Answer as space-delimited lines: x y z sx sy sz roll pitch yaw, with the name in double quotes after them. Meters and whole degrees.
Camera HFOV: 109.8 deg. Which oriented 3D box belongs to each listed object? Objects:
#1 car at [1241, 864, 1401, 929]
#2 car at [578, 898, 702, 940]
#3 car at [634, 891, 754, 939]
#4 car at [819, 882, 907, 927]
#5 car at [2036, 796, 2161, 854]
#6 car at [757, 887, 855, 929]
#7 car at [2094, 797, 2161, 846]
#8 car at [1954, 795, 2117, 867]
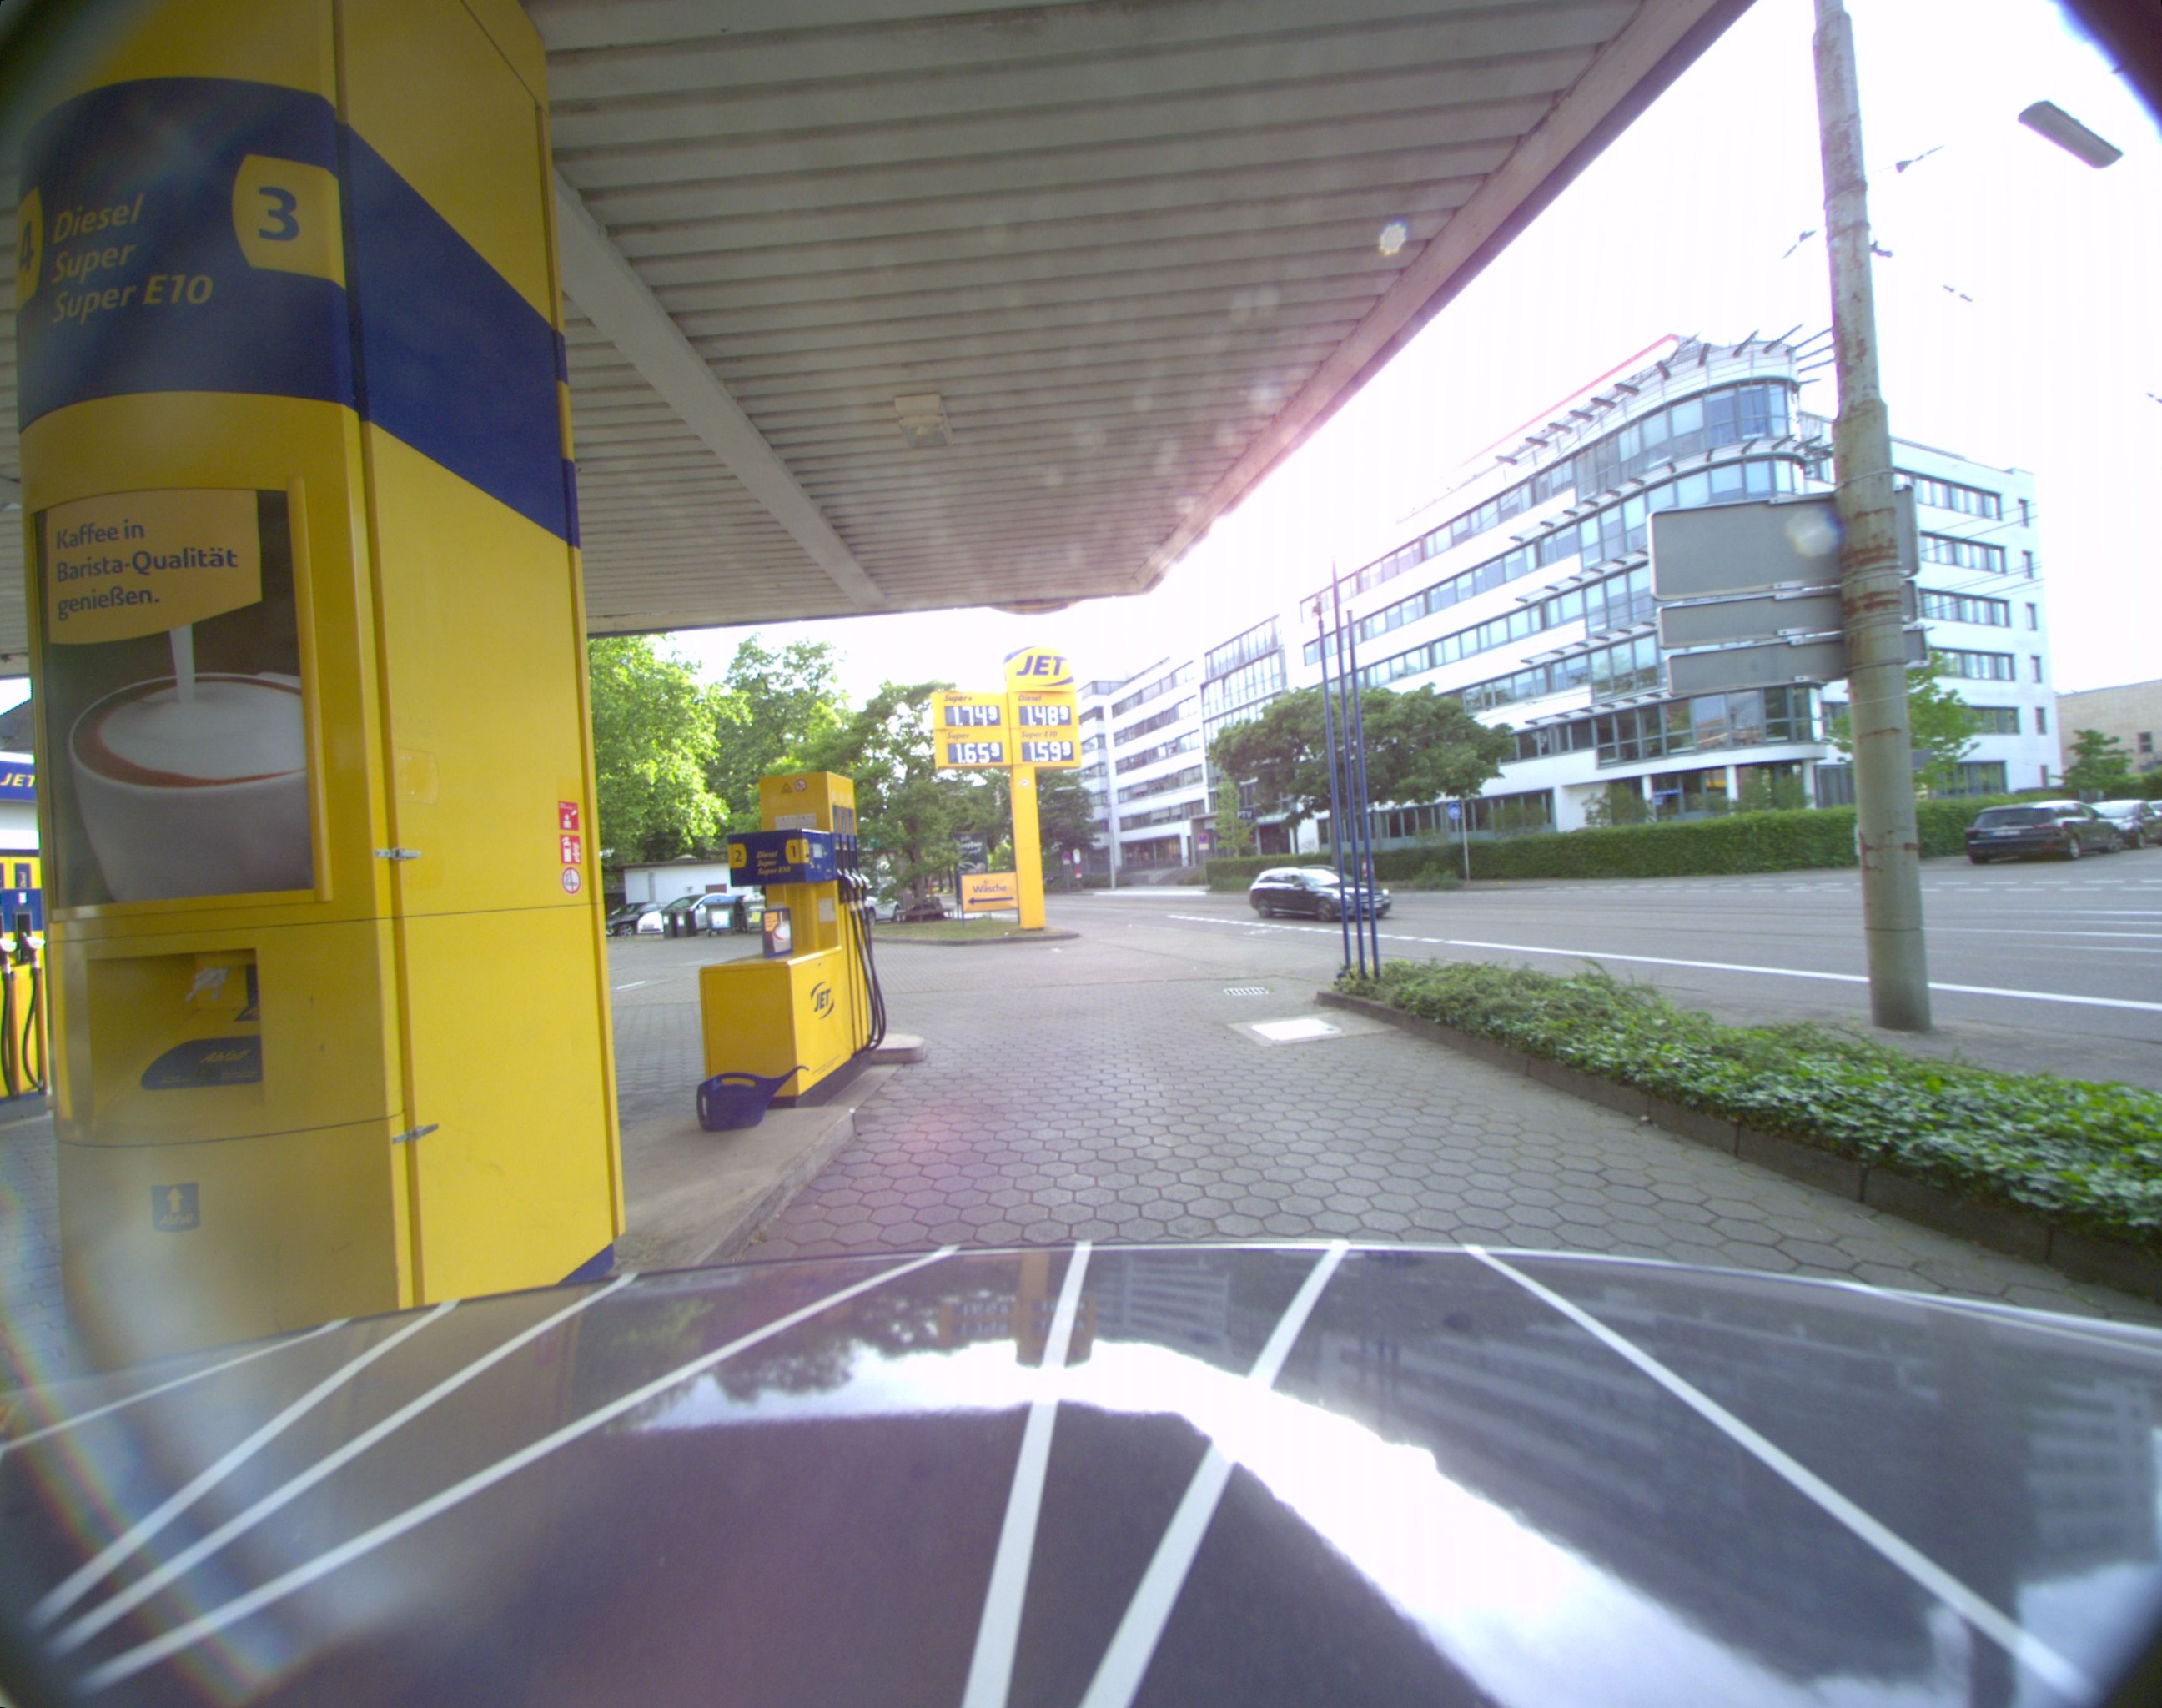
6.468 1.128 21.120 1.755 1.460 4.564 -4 -1 -19 "car"
-17.794 2.595 30.910 1.771 1.367 4.398 -2 -1 14 "car"
-15.292 2.369 30.316 1.771 1.591 4.398 -2 -1 14 "car"
-8.636 2.005 30.505 1.772 1.591 4.398 -4 -4 6 "car"
32.545 -0.943 24.098 4.296 1.530 1.945 -4 -1 -27 "car"
-11.655 2.271 32.495 1.771 1.591 4.400 -4 -4 13 "car"
37.127 -1.199 26.150 4.296 1.509 1.945 -4 -1 -27 "car"
27.274 -0.665 21.695 4.296 1.681 2.010 -4 -1 -27 "car"
